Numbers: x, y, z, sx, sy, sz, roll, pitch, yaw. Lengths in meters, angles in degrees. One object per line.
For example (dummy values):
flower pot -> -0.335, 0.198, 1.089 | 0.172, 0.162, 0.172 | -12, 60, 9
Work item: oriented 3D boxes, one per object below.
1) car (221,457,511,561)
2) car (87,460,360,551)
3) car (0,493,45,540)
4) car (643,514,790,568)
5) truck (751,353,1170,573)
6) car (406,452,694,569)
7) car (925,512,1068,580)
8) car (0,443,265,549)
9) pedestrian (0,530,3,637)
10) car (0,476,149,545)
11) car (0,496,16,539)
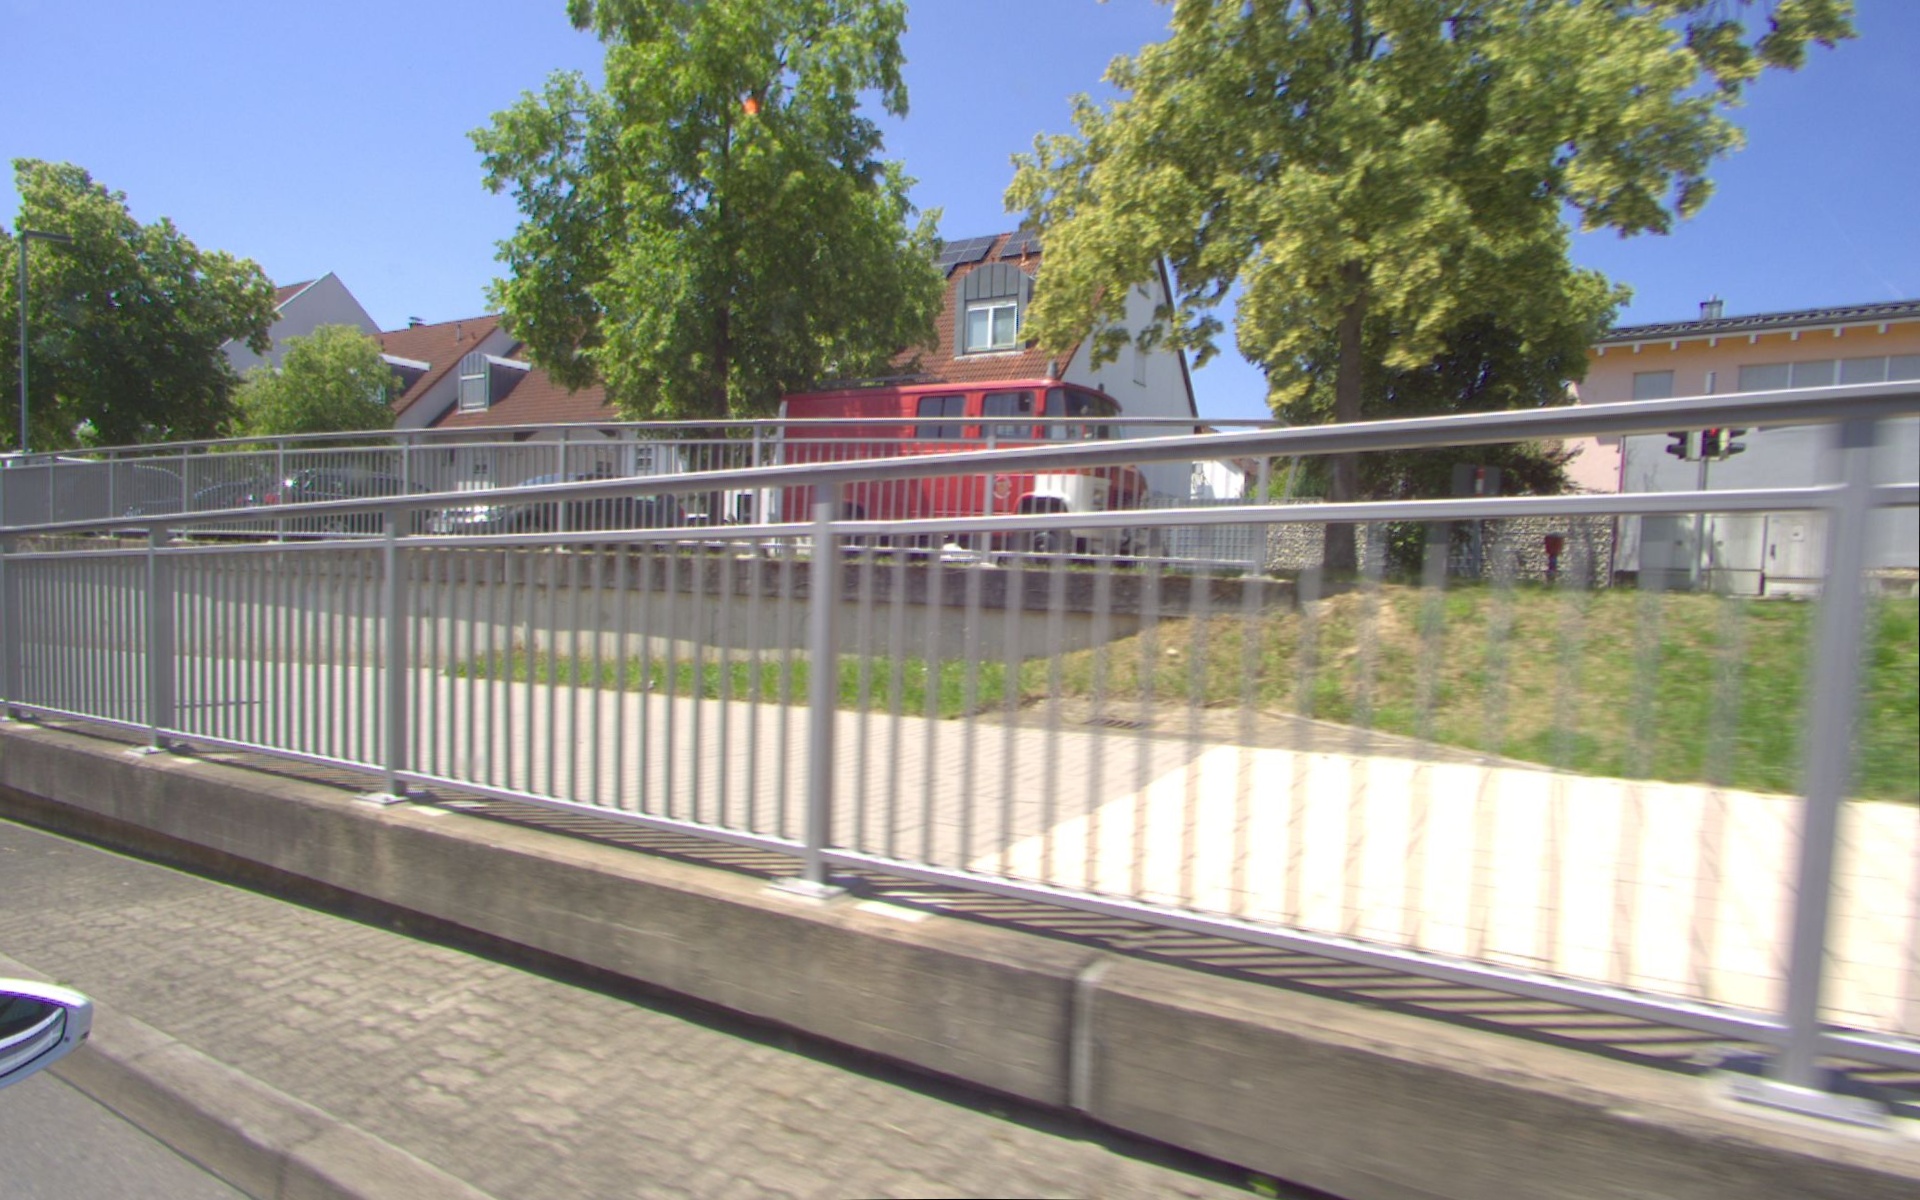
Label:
car -> -10.504, -1.540, 18.017 | 1.661, 1.519, 4.195 | 3, 2, 32
car -> -15.180, -1.874, 20.887 | 1.723, 1.519, 4.276 | 3, 2, 33
car -> -30.720, -2.622, 30.512 | 1.661, 1.386, 3.897 | 3, 2, 33
car -> -7.250, -1.760, 30.228 | 1.731, 1.511, 4.395 | 3, 4, 32
truck -> -0.091, -1.652, 13.356 | 5.181, 2.366, 2.128 | 3, 2, 31
car -> -6.359, -1.322, 15.953 | 1.723, 1.519, 3.978 | 3, 2, 33
car -> 0.964, -1.303, 24.288 | 1.731, 1.499, 3.927 | 3, 4, 32
car -> -20.415, -2.427, 24.629 | 1.960, 2.092, 5.101 | 3, 2, 32
pedestrian -> -16.617, -0.278, 16.659 | 0.777, 1.806, 0.834 | 1, 1, 32
car -> -24.573, -2.379, 26.795 | 1.661, 1.618, 4.195 | 3, 2, 32
car -> -32.791, -2.732, 31.734 | 1.661, 1.386, 3.897 | 3, 2, 33
